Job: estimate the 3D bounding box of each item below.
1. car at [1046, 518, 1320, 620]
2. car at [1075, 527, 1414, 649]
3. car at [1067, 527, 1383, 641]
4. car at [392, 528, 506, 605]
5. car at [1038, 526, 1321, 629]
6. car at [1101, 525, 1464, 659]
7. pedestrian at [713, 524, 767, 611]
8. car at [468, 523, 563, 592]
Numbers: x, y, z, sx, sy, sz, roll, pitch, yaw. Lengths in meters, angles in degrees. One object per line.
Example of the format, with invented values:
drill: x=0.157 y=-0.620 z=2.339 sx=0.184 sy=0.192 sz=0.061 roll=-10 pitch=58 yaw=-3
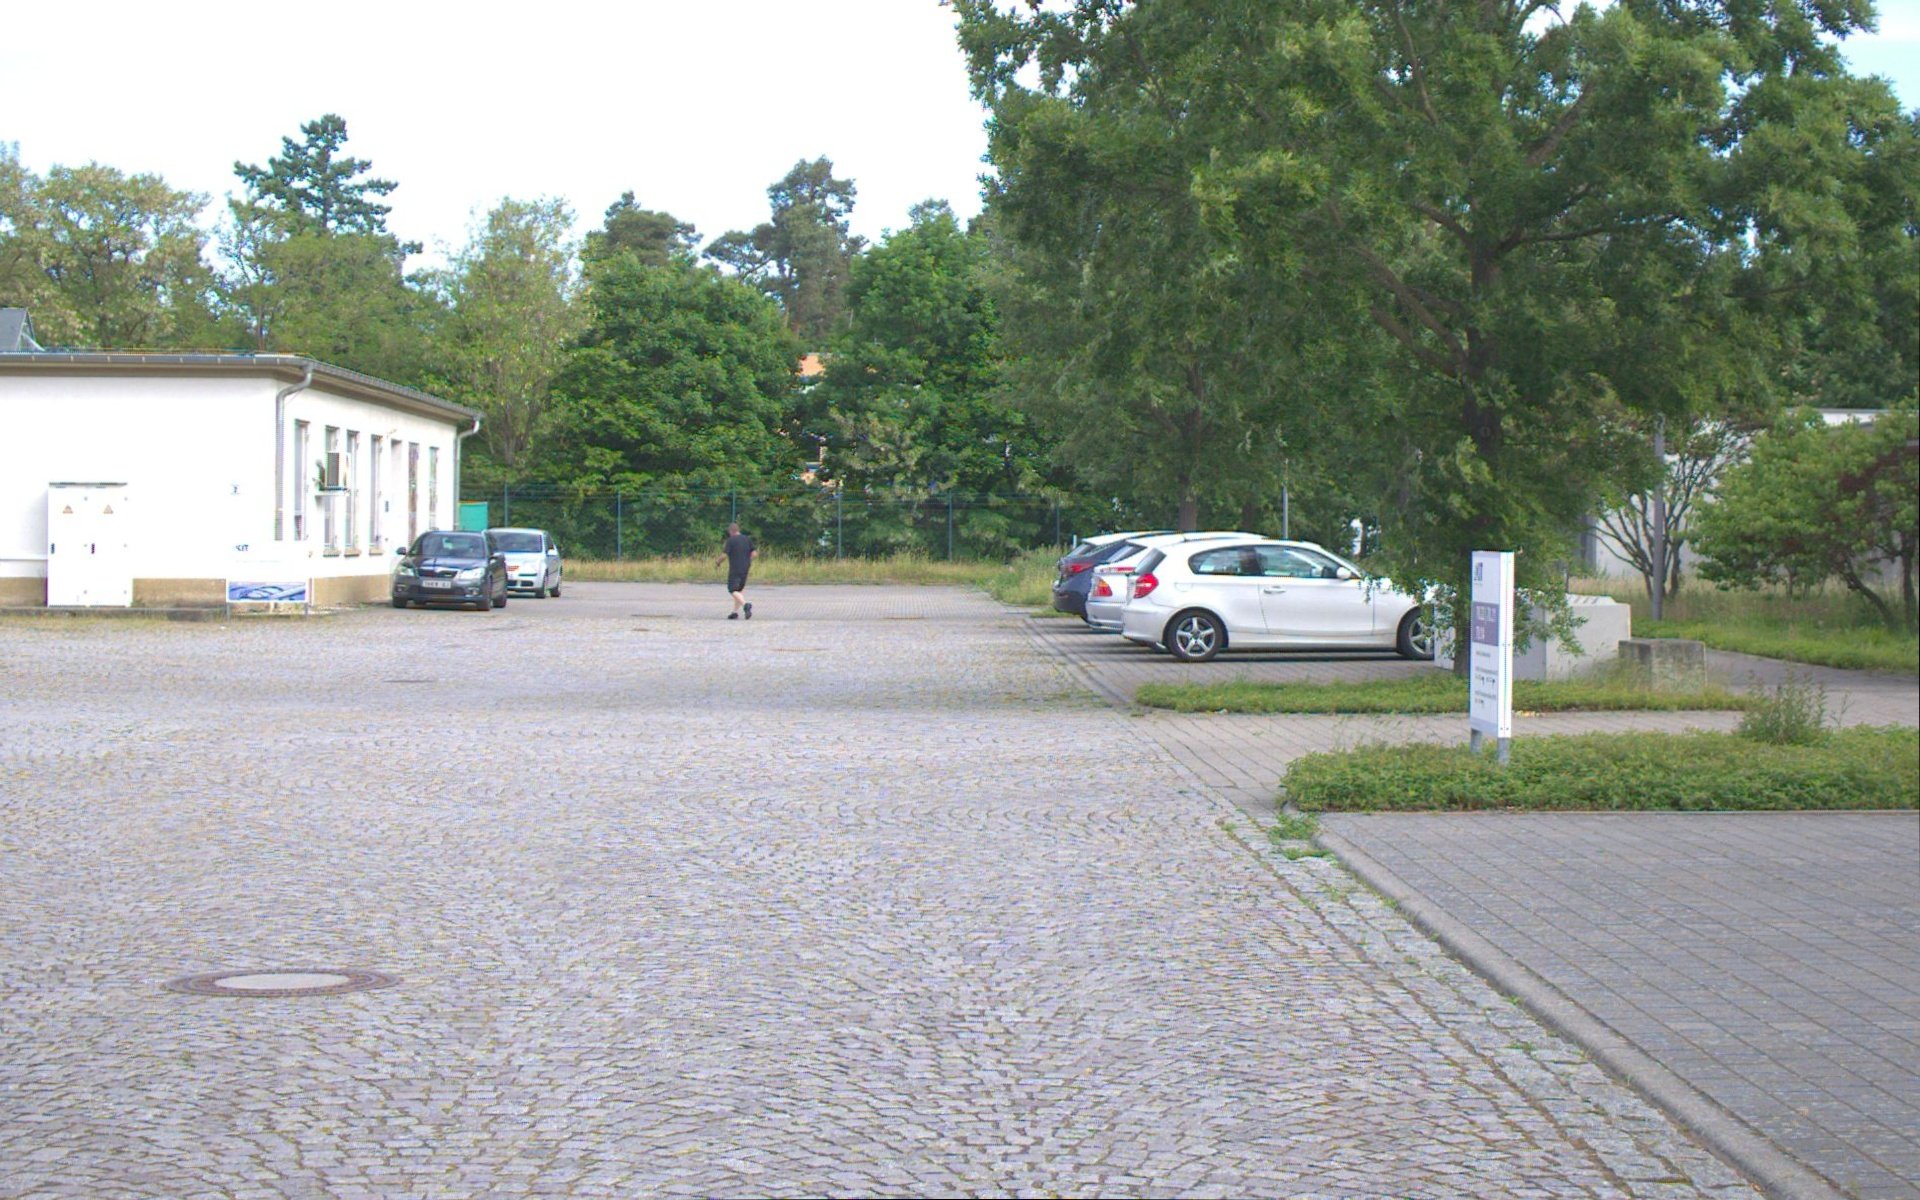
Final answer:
car: x=3.428 y=-0.488 z=53.313 sx=3.986 sy=1.528 sz=2.000 roll=0 pitch=1 yaw=-5
car: x=3.450 y=-0.162 z=42.156 sx=3.987 sy=1.450 sz=1.697 roll=0 pitch=1 yaw=-1
car: x=3.446 y=-0.217 z=45.197 sx=3.987 sy=1.450 sz=1.770 roll=0 pitch=1 yaw=-1
car: x=-9.453 y=-0.642 z=63.807 sx=1.748 sy=1.359 sz=4.001 roll=0 pitch=1 yaw=-3
car: x=3.167 y=-0.339 z=50.097 sx=3.987 sy=1.450 sz=1.770 roll=0 pitch=1 yaw=-1
car: x=3.699 y=-0.094 z=39.991 sx=3.987 sy=1.450 sz=2.000 roll=1 pitch=0 yaw=-1
pedestrian: x=-4.017 y=-0.602 z=62.742 sx=0.940 sy=1.563 sz=0.971 roll=0 pitch=1 yaw=-1
car: x=-9.542 y=-0.929 z=74.036 sx=1.748 sy=1.449 sz=4.001 roll=0 pitch=1 yaw=-3
